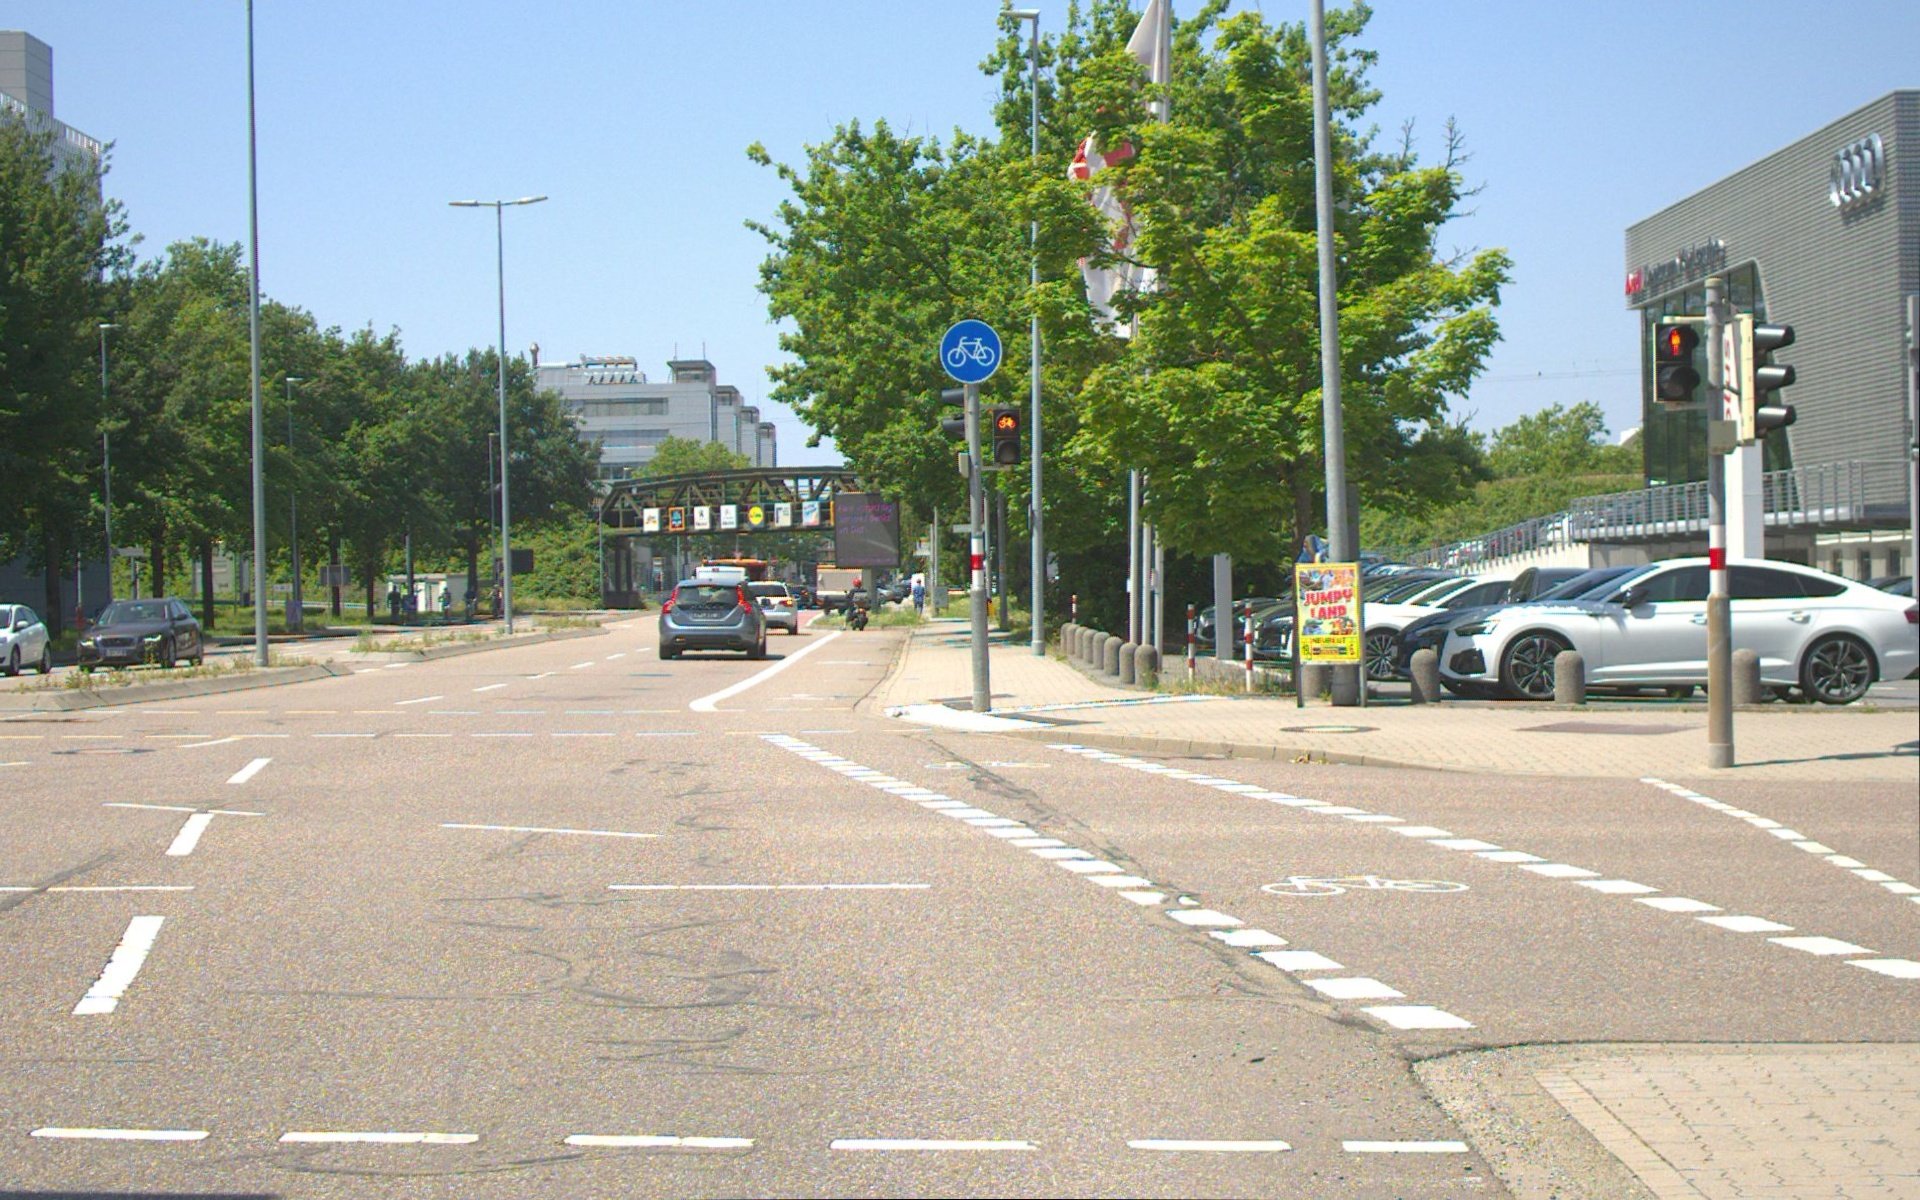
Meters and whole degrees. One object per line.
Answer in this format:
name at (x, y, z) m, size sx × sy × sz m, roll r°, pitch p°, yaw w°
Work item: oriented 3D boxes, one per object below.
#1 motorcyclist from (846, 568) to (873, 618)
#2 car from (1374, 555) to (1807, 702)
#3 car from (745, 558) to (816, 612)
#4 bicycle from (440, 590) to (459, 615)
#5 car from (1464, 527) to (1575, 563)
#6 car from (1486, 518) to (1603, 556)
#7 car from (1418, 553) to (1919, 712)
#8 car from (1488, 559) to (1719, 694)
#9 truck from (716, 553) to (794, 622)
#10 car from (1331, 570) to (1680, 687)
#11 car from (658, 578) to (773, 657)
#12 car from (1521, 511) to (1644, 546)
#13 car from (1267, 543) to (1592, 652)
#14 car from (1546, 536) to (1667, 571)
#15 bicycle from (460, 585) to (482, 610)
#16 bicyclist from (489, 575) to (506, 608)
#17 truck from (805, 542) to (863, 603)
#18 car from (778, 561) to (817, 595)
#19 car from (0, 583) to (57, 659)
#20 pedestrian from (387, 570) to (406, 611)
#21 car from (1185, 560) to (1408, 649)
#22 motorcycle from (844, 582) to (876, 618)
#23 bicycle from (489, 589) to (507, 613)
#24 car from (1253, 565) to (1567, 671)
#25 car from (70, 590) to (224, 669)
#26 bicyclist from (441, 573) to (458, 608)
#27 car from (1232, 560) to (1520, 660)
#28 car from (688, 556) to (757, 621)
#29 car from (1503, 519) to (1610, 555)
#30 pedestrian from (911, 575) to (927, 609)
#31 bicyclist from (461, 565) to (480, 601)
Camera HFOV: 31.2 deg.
motorcyclist at (-3.100, -0.207, 106.007) m, size 0.719 × 1.524 × 0.871 m, roll 1°, pitch 0°, yaw -10°
car at (6.477, 0.284, 35.634) m, size 4.096 × 1.385 × 1.869 m, roll 1°, pitch 0°, yaw 0°
car at (-4.796, -0.420, 92.053) m, size 1.744 × 1.391 × 3.529 m, roll -1°, pitch 1°, yaw -1°
bicycle at (-23.528, 0.130, 158.569) m, size 0.637 × 1.130 × 1.971 m, roll -1°, pitch 0°, yaw -2°
car at (21.978, -2.148, 135.122) m, size 3.986 × 1.307 × 1.798 m, roll -1°, pitch 0°, yaw -5°
car at (21.975, -2.367, 129.336) m, size 3.986 × 1.307 × 1.798 m, roll 1°, pitch 0°, yaw -5°
car at (6.846, 0.300, 33.257) m, size 4.592 × 1.385 × 1.869 m, roll 1°, pitch 0°, yaw 2°
car at (7.346, 0.276, 39.687) m, size 1.863 × 1.415 × 4.662 m, roll 1°, pitch 0°, yaw 1°
truck at (-7.414, -0.492, 125.204) m, size 2.458 × 2.402 × 7.134 m, roll 1°, pitch 1°, yaw -1°
car at (6.884, 0.354, 43.687) m, size 4.096 × 1.360 × 1.874 m, roll 1°, pitch 0°, yaw 0°
car at (-4.462, 0.296, 63.228) m, size 1.900 × 1.371 × 4.232 m, roll -1°, pitch 0°, yaw -1°
car at (21.848, -2.510, 120.668) m, size 3.938 × 1.207 × 1.718 m, roll 0°, pitch 0°, yaw -5°
car at (6.299, -0.034, 46.423) m, size 4.099 × 1.344 × 1.869 m, roll 1°, pitch 0°, yaw 0°
car at (21.895, -1.571, 116.479) m, size 3.724 × 1.127 × 1.684 m, roll 1°, pitch 0°, yaw -5°
bicycle at (-23.124, -0.121, 162.631) m, size 0.739 × 1.121 × 2.434 m, roll -1°, pitch 0°, yaw -1°
bicyclist at (-23.596, -0.431, 175.427) m, size 0.633 × 1.623 × 1.045 m, roll -3°, pitch 0°, yaw -1°
truck at (-6.014, -1.347, 164.833) m, size 2.615 × 2.841 × 5.615 m, roll 1°, pitch 1°, yaw -1°
car at (-9.963, -1.354, 211.153) m, size 1.994 × 2.007 × 4.000 m, roll -2°, pitch 0°, yaw 2°
car at (-19.524, 0.444, 69.035) m, size 1.743 × 1.481 × 4.000 m, roll -2°, pitch 0°, yaw -1°
pedestrian at (-26.037, -0.446, 158.830) m, size 0.743 × 1.878 × 0.577 m, roll -1°, pitch 0°, yaw 0°
car at (5.868, 0.078, 60.294) m, size 3.681 × 1.448 × 1.834 m, roll 1°, pitch 0°, yaw 0°
motorcycle at (-3.084, 0.006, 105.917) m, size 0.716 × 1.101 × 1.831 m, roll 1°, pitch 0°, yaw -10°
bicycle at (-23.576, 0.044, 175.450) m, size 0.629 × 1.155 × 2.117 m, roll -3°, pitch 0°, yaw -1°
car at (6.418, 0.250, 49.379) m, size 4.226 × 1.385 × 1.869 m, roll 1°, pitch 0°, yaw 0°
car at (-16.139, 0.560, 68.428) m, size 1.726 × 1.441 × 4.719 m, roll -3°, pitch 0°, yaw 2°
bicyclist at (-23.540, -0.430, 158.554) m, size 0.637 × 1.577 × 0.884 m, roll -1°, pitch 0°, yaw -2°
car at (6.287, 0.144, 52.259) m, size 4.101 × 1.400 × 1.869 m, roll 1°, pitch 0°, yaw 0°
car at (-7.463, -0.369, 108.211) m, size 1.993 × 2.007 × 4.000 m, roll 0°, pitch 0°, yaw -1°
car at (21.650, -2.295, 124.842) m, size 3.523 × 1.235 × 1.677 m, roll 1°, pitch 0°, yaw -5°
pedestrian at (-1.652, -0.326, 137.514) m, size 0.623 × 1.370 × 0.564 m, roll -1°, pitch 0°, yaw -2°
bicyclist at (-23.130, -0.785, 162.479) m, size 0.745 × 1.680 × 0.952 m, roll -1°, pitch 0°, yaw -2°
